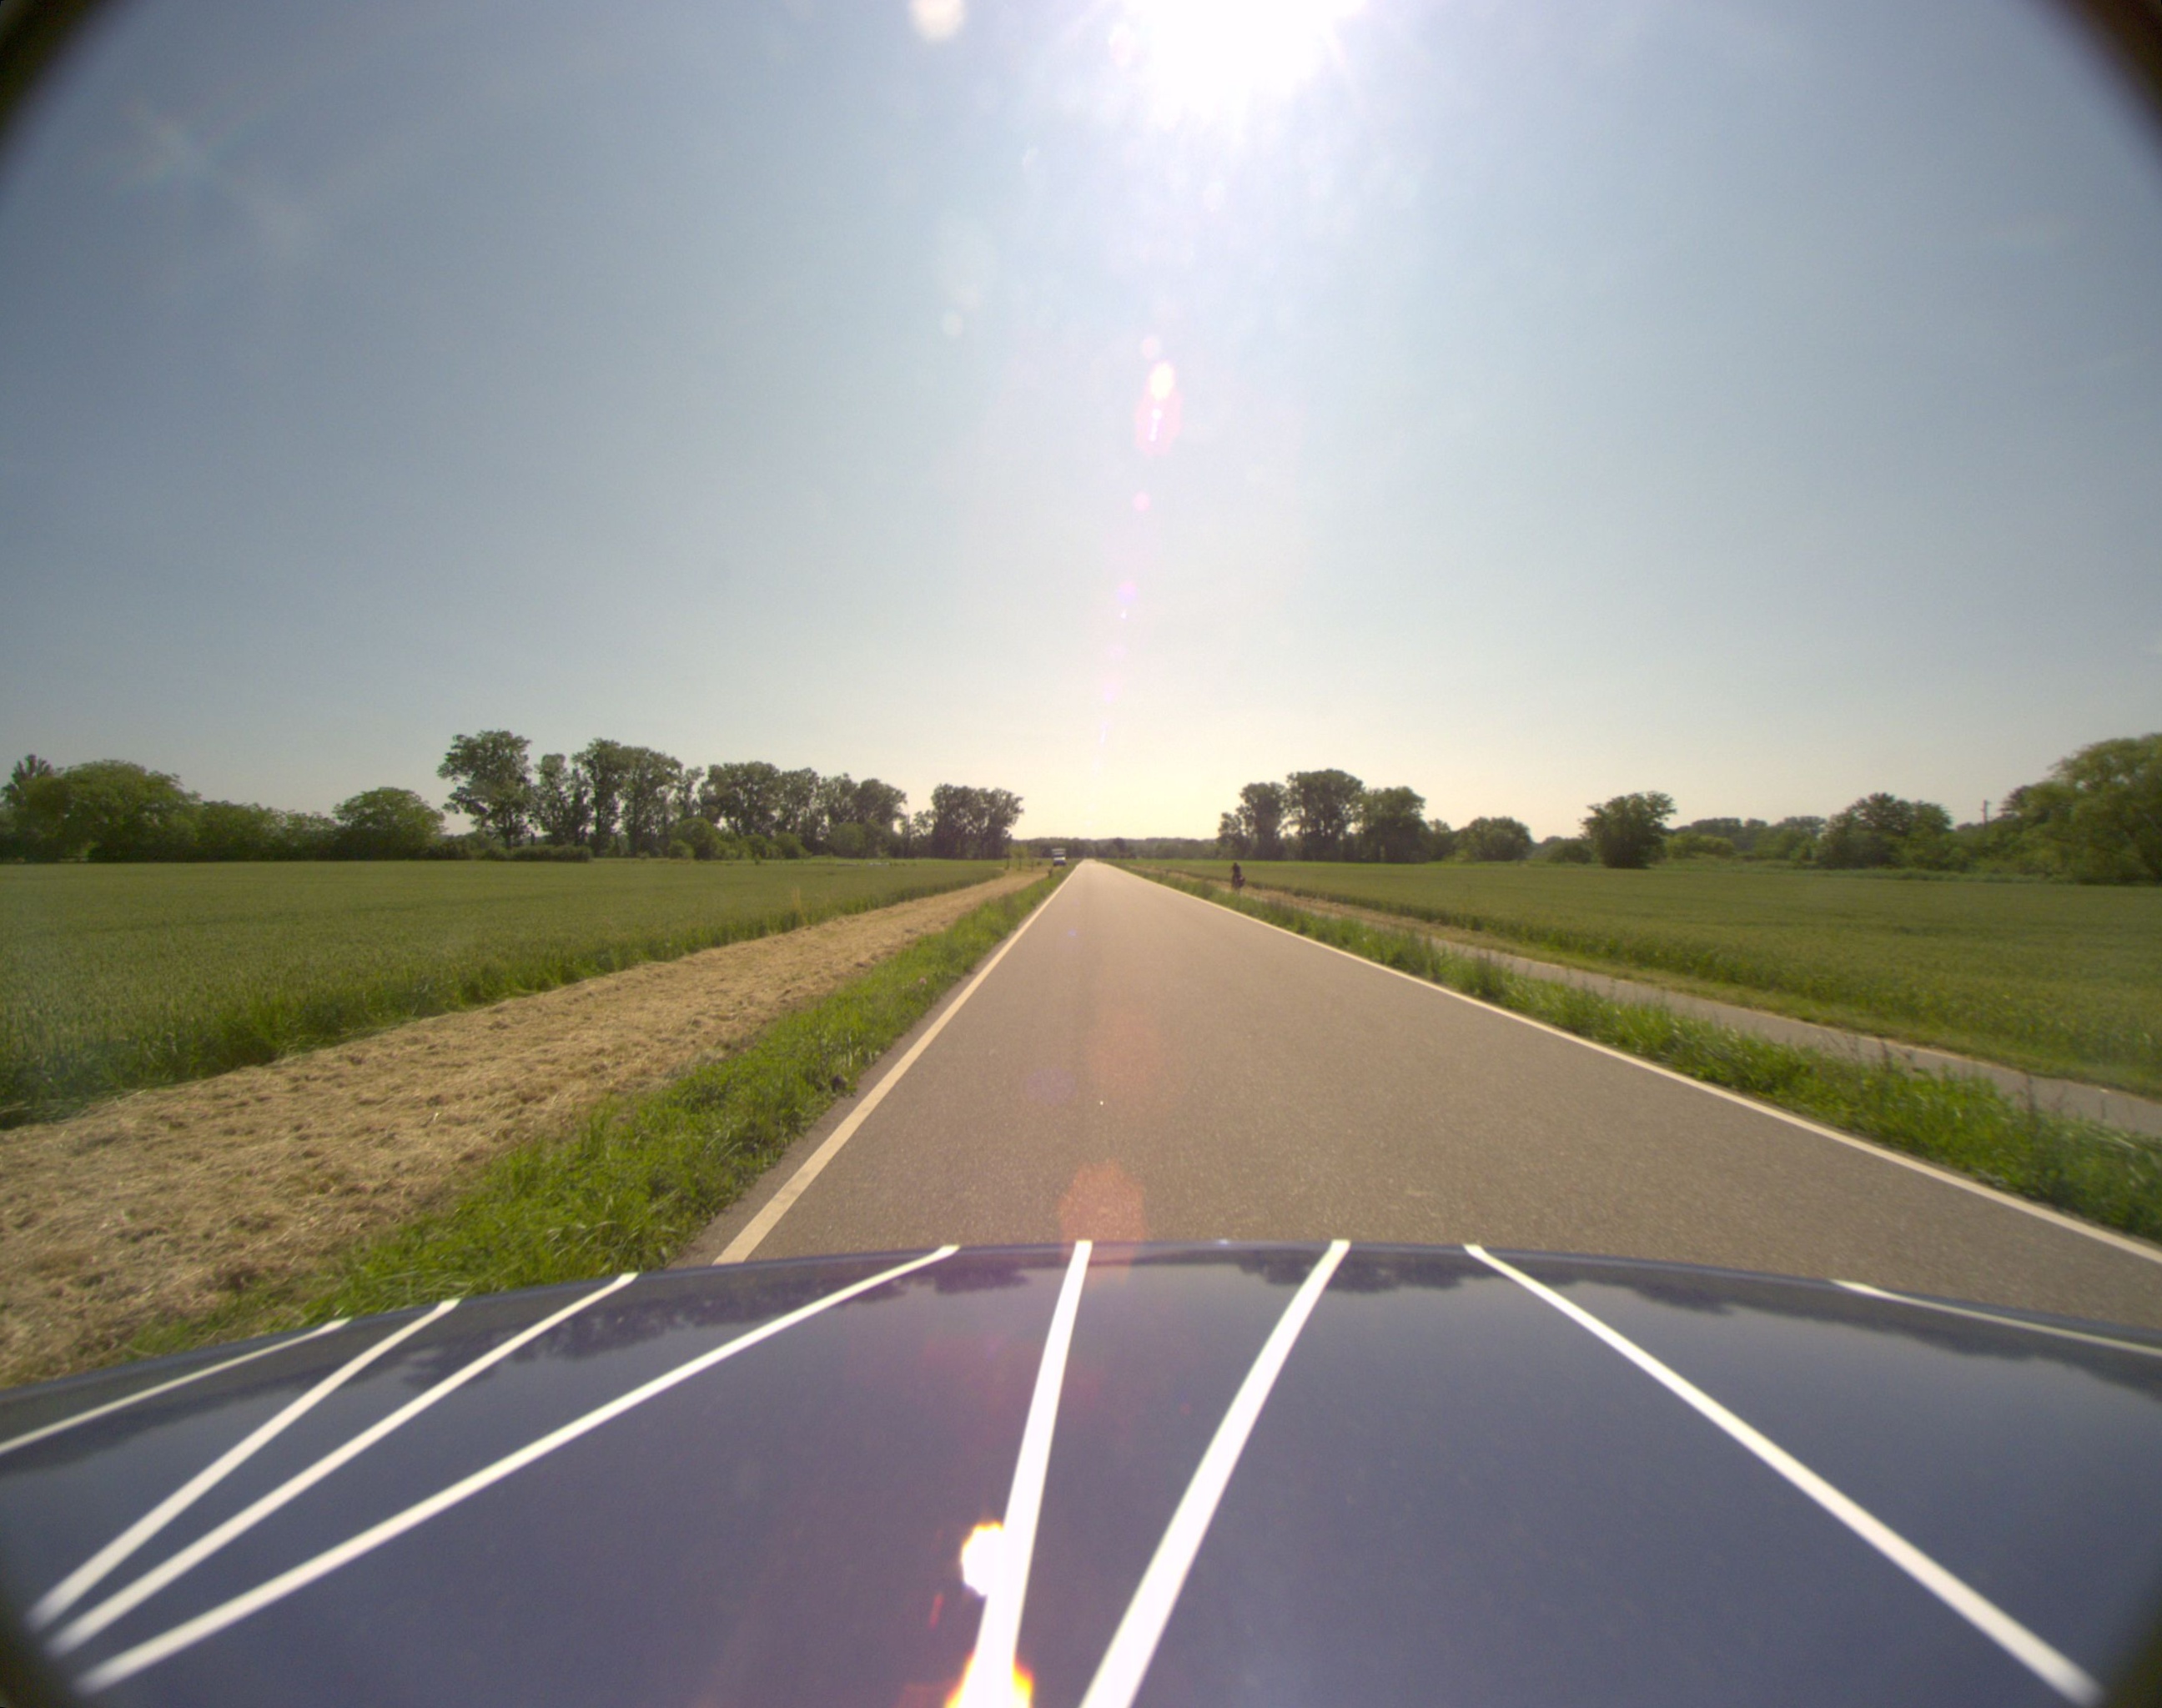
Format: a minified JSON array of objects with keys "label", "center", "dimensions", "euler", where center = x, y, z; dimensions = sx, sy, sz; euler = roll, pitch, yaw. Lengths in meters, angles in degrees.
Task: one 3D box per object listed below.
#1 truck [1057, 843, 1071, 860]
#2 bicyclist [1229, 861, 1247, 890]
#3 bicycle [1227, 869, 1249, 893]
[{"label":"truck","center":[-2.817,-0.408,125.435],"dimensions":[1.998,2.821,5.217],"euler":[0,0,1]},{"label":"bicyclist","center":[8.115,1.096,39.308],"dimensions":[0.743,1.488,1.003],"euler":[0,1,1]},{"label":"bicycle","center":[8.119,1.388,39.291],"dimensions":[0.743,1.165,2.082],"euler":[0,0,1]}]
